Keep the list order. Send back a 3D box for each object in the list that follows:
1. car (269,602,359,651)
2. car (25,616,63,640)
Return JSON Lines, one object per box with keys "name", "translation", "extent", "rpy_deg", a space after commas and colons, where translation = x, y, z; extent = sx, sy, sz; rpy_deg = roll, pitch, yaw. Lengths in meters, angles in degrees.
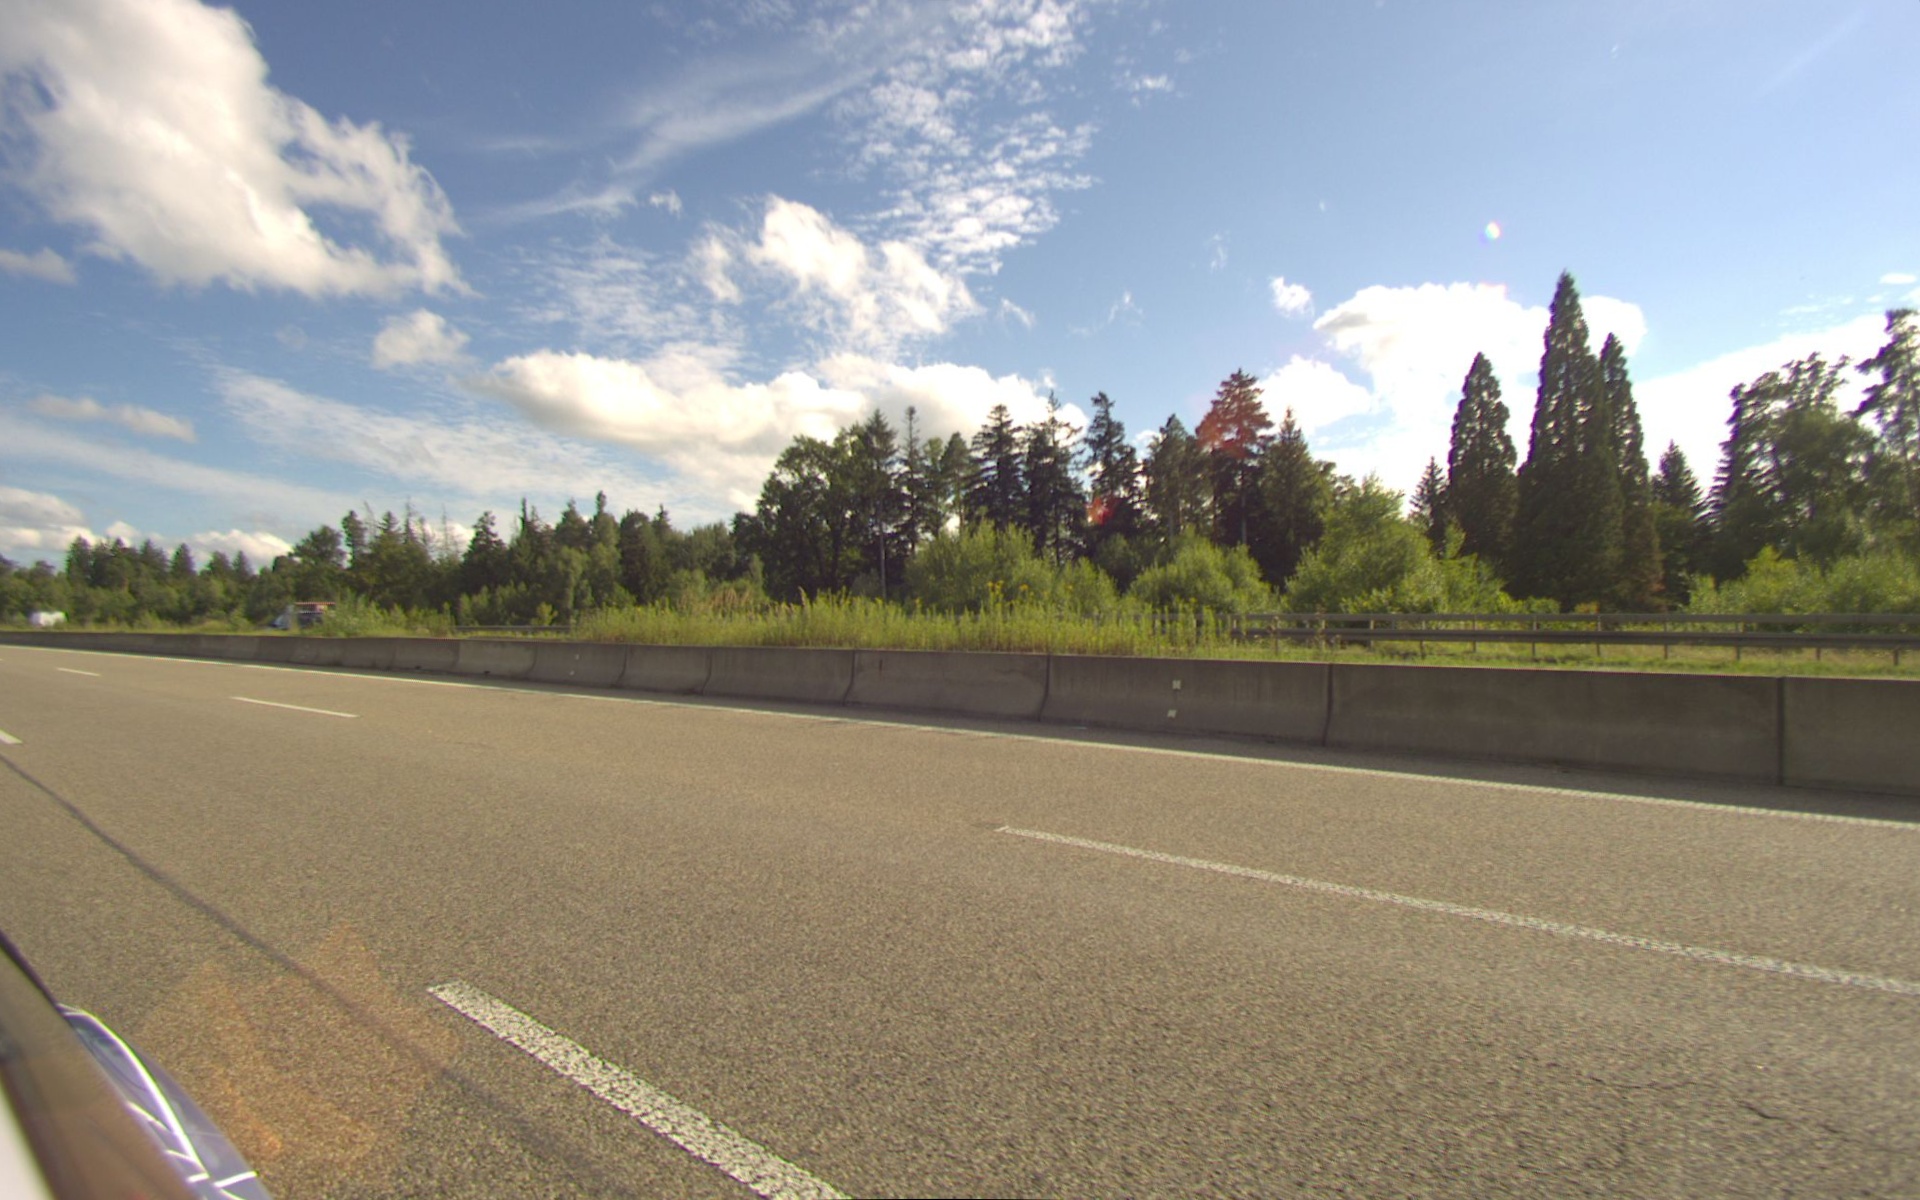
{"name": "car", "translation": [-34.861, 1.420, 54.546], "extent": [6.188, 2.335, 2.287], "rpy_deg": [-1, 2, 41]}
{"name": "car", "translation": [-89.380, 2.728, 98.729], "extent": [5.199, 2.261, 2.044], "rpy_deg": [-2, -1, 40]}
